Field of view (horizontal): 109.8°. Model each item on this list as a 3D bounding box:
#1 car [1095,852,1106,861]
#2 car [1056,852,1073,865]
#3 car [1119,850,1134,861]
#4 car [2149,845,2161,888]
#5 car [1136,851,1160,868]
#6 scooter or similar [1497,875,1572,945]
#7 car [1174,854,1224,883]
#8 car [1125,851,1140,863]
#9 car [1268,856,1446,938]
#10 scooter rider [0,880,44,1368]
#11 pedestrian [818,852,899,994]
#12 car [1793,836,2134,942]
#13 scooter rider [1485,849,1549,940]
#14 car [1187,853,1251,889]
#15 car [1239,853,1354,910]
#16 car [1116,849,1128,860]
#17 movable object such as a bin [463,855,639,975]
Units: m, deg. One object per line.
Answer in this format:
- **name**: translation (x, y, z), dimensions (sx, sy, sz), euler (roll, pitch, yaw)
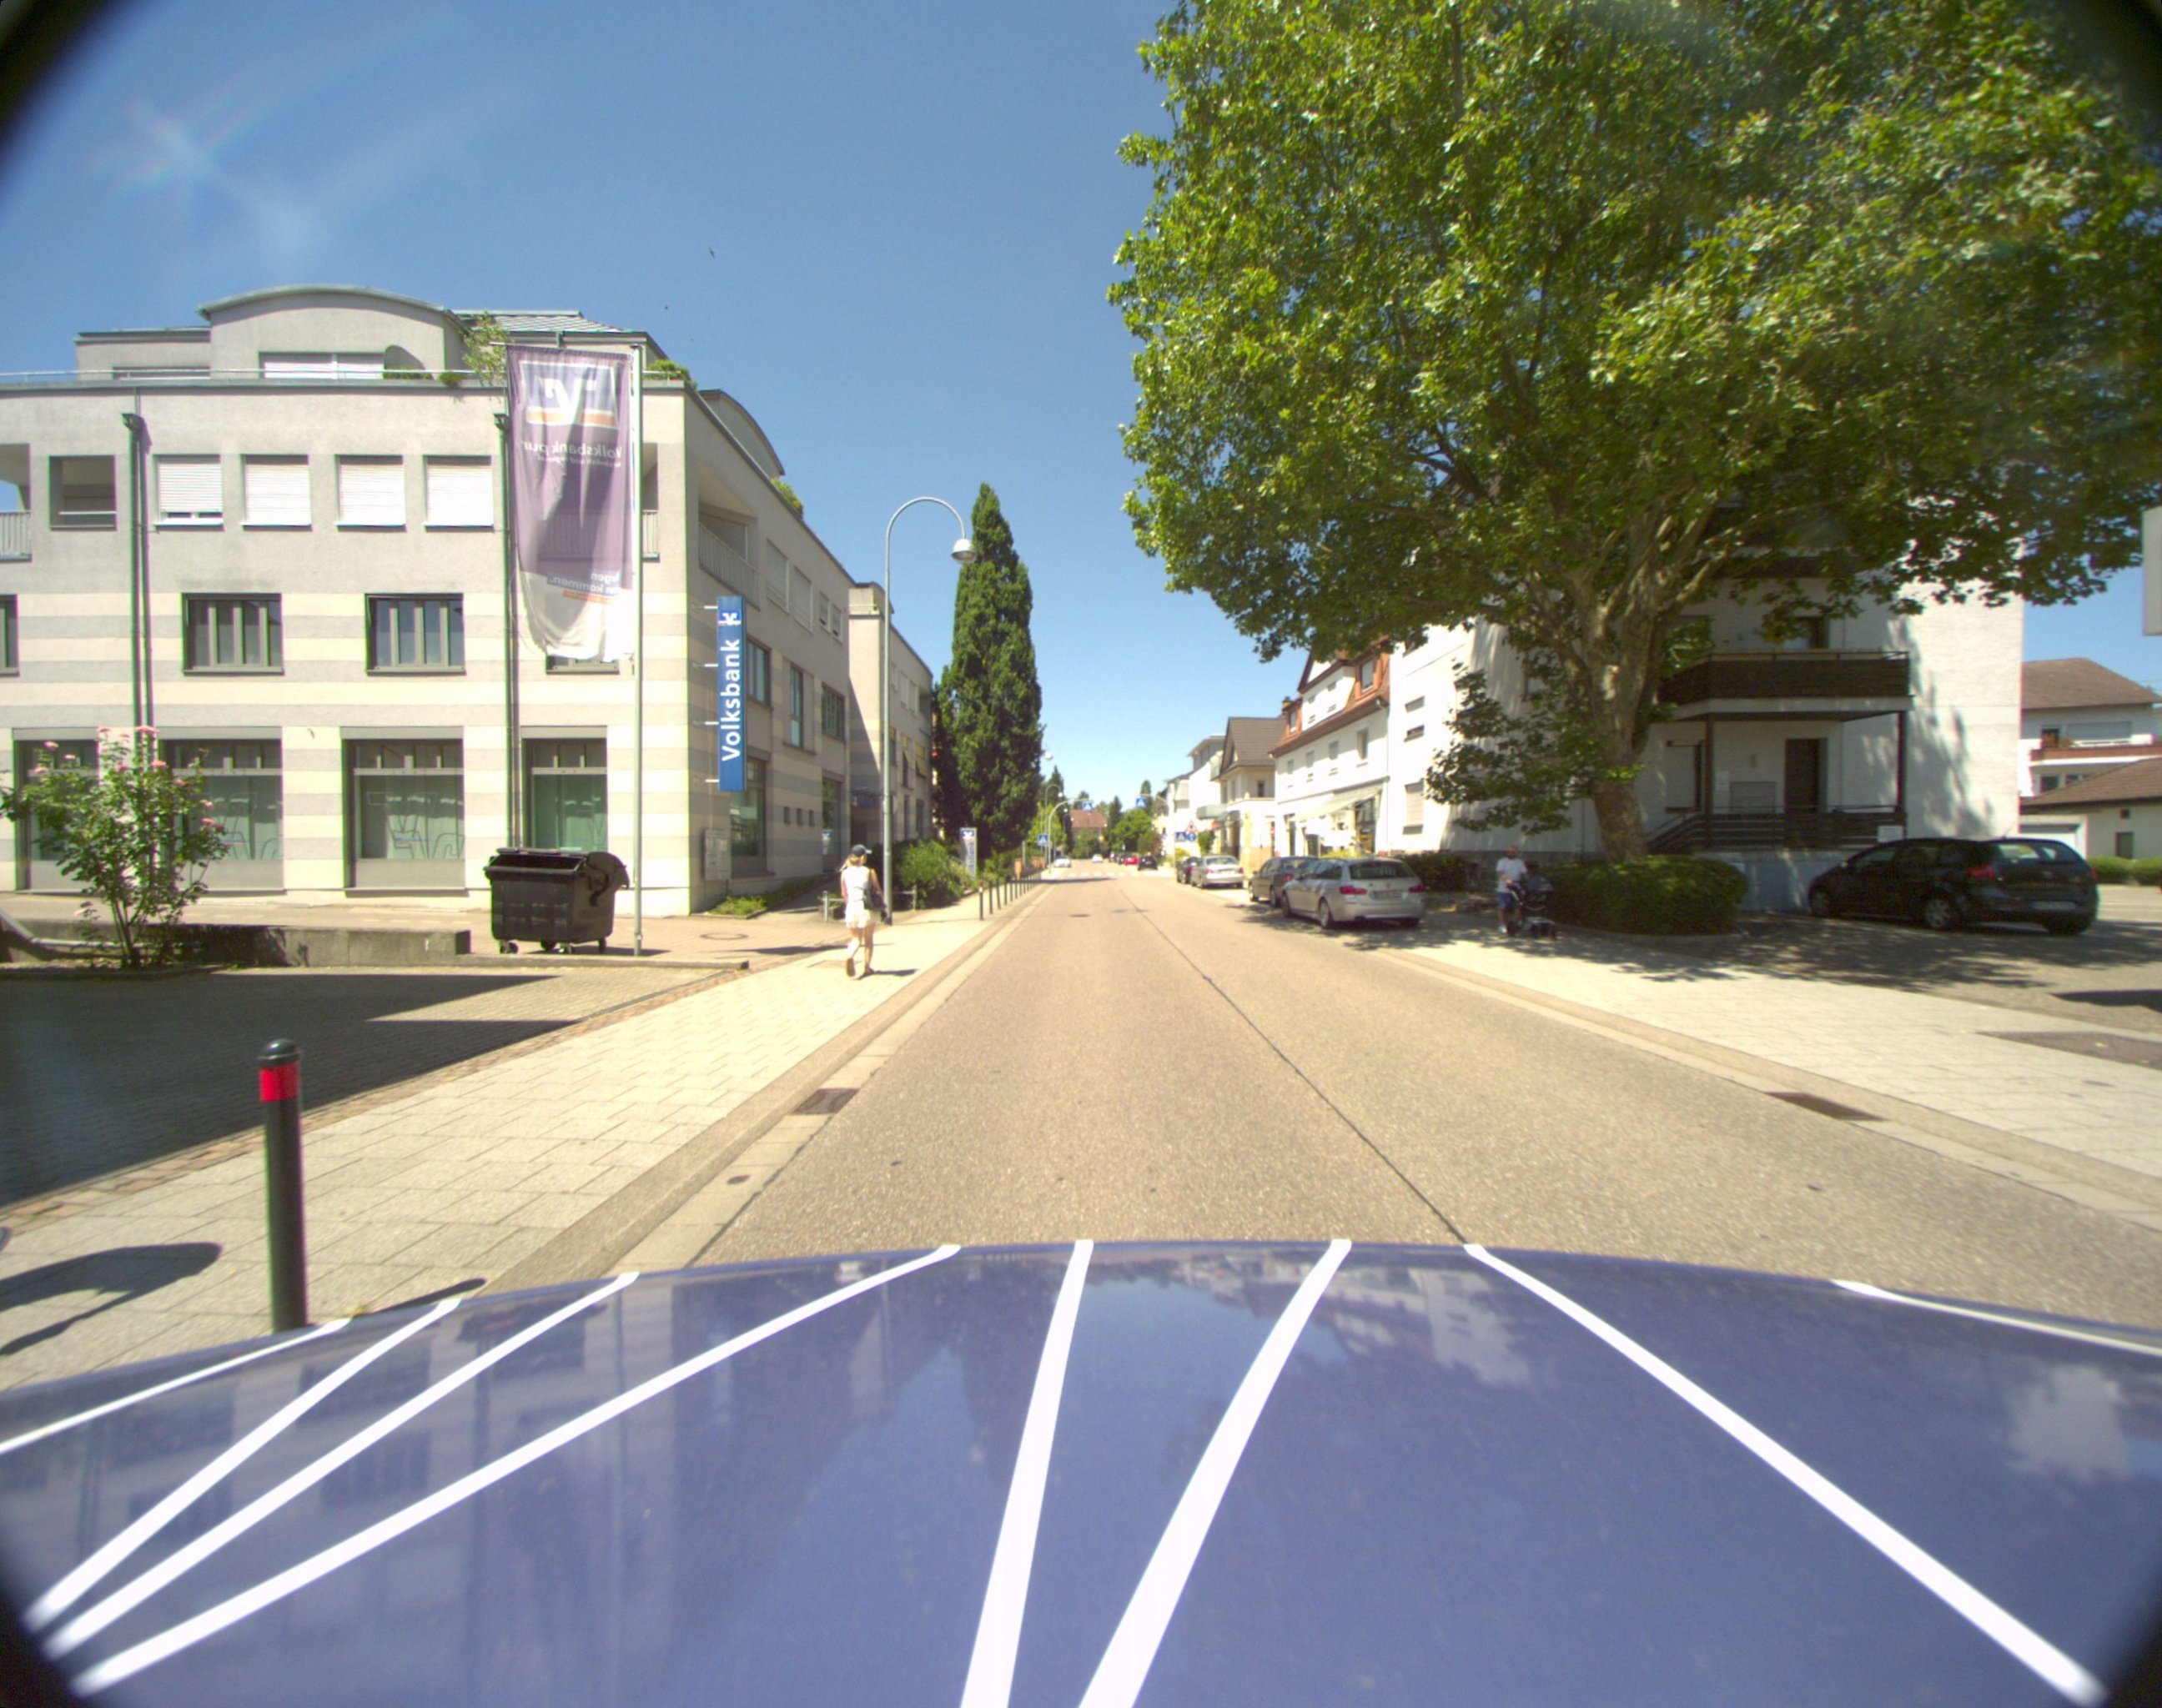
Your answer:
- **car**: translation (3.506, 0.422, 138.210), dimensions (1.812, 1.473, 3.868), euler (1, 1, -1)
- **car**: translation (-2.020, 0.521, 94.248), dimensions (1.920, 1.460, 4.880), euler (0, 0, 0)
- **car**: translation (6.756, 0.220, 112.938), dimensions (1.925, 1.577, 4.435), euler (-3, 0, 1)
- **car**: translation (39.166, 0.406, 26.217), dimensions (4.005, 1.488, 1.996), euler (0, 0, -25)
- **car**: translation (6.530, 0.487, 74.116), dimensions (1.921, 1.444, 5.149), euler (-3, 0, 1)
- **scooter or similar**: translation (7.790, 0.944, 13.097), dimensions (0.665, 1.092, 1.028), euler (-2, 0, 2)
- **car**: translation (6.201, 0.735, 40.385), dimensions (1.947, 1.365, 5.098), euler (-1, 0, 1)
- **car**: translation (6.888, 0.353, 101.642), dimensions (1.737, 1.444, 4.260), euler (-3, 0, 1)
- **car**: translation (5.760, 0.801, 16.700), dimensions (1.986, 1.444, 5.150), euler (-2, 0, 0)
- **scooter rider**: translation (-3.764, 0.853, 2.103), dimensions (0.718, 1.540, 0.770), euler (1, 1, -1)
- **pedestrian**: translation (-2.694, 0.807, 9.257), dimensions (0.702, 1.617, 0.783), euler (2, 1, -1)
- **car**: translation (14.917, 0.497, 13.276), dimensions (1.809, 1.536, 4.109), euler (0, 0, 13)
- **scooter rider**: translation (7.845, 0.708, 13.702), dimensions (0.590, 1.566, 0.877), euler (-3, 0, 2)
- **car**: translation (6.108, 0.709, 34.315), dimensions (1.986, 1.444, 5.357), euler (-2, 0, 1)
- **car**: translation (6.211, 0.729, 22.590), dimensions (1.986, 1.444, 4.867), euler (-2, 0, 0)
- **car**: translation (7.160, 0.071, 132.842), dimensions (1.925, 1.681, 4.287), euler (-3, 0, 2)
- **movable object such as a bin**: translation (-7.127, 0.778, 10.330), dimensions (1.371, 1.450, 1.380), euler (3, 1, 2)
